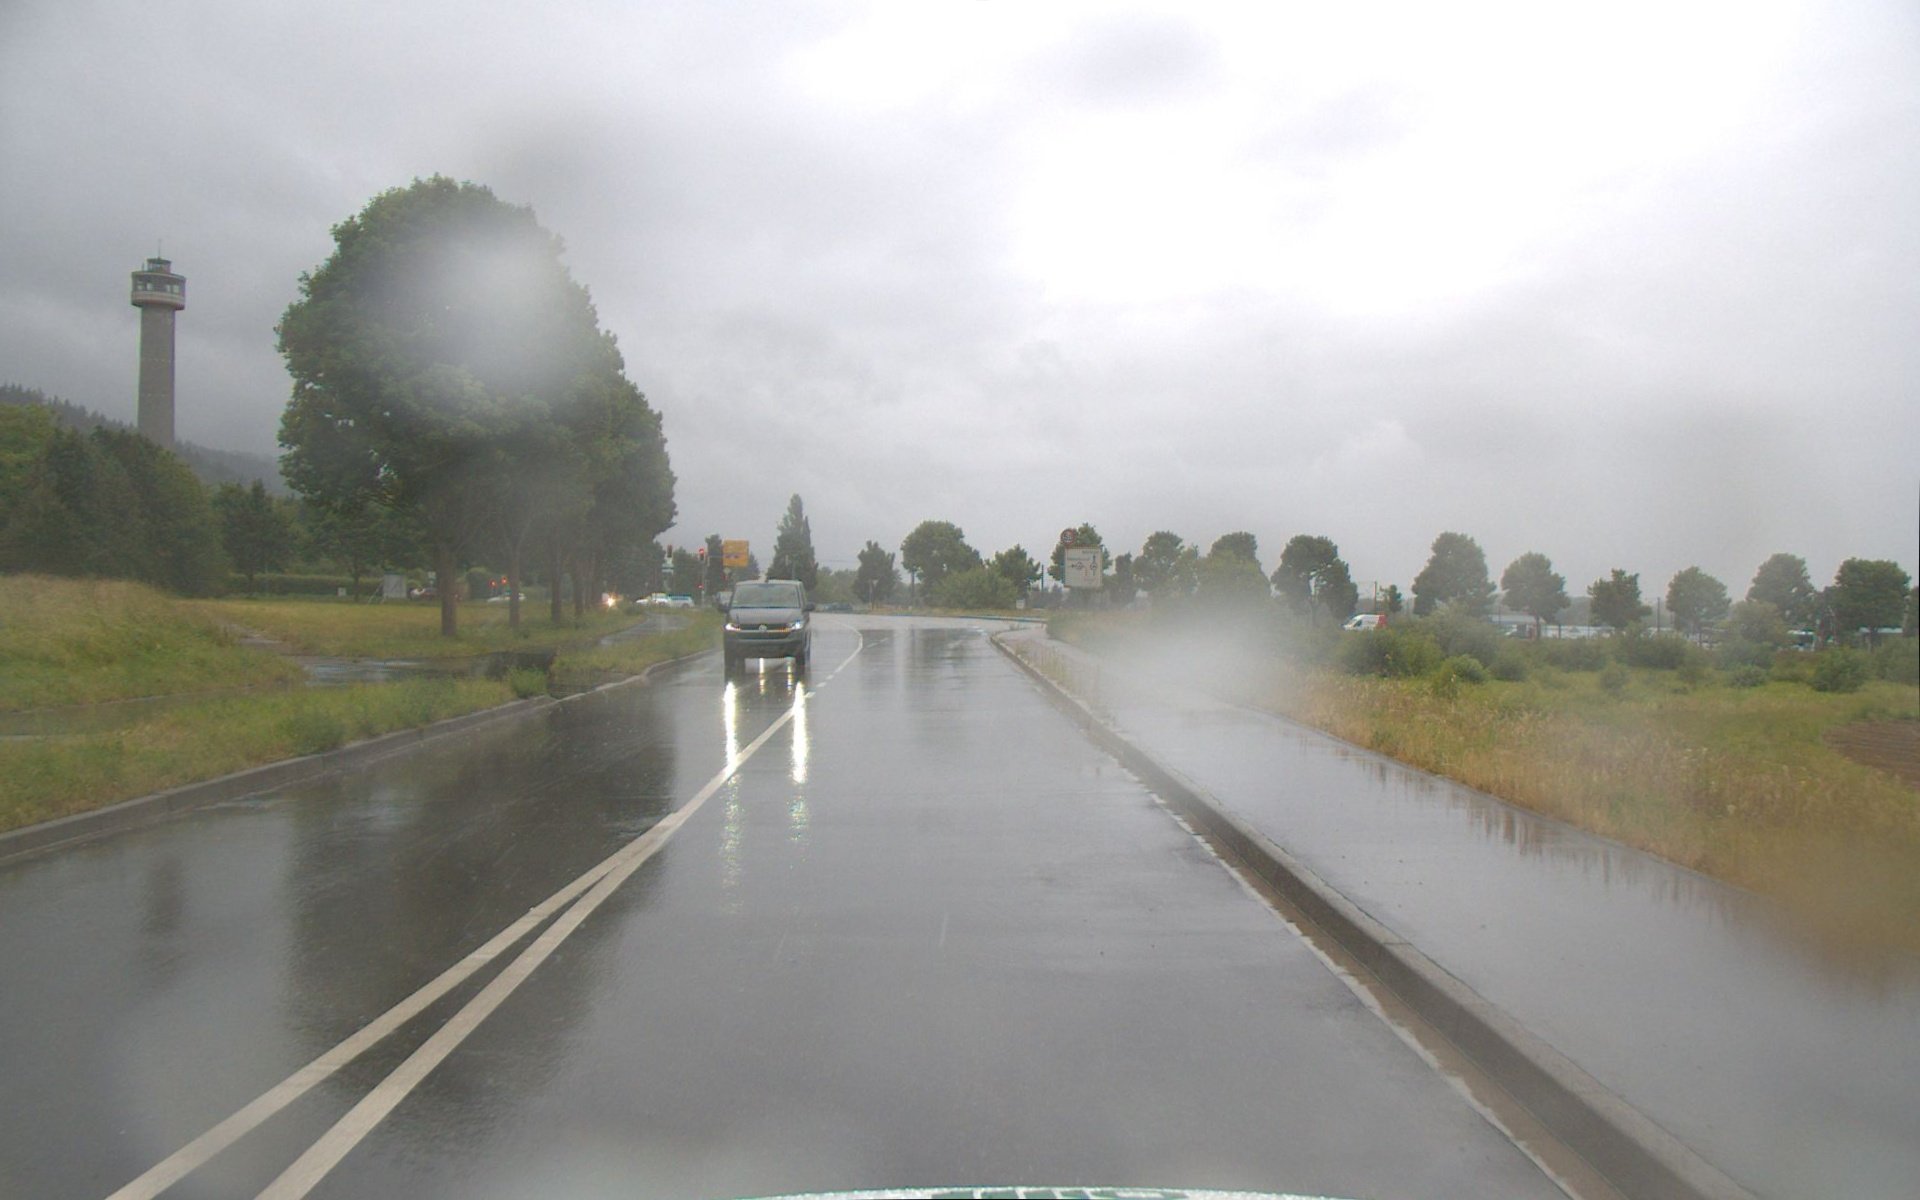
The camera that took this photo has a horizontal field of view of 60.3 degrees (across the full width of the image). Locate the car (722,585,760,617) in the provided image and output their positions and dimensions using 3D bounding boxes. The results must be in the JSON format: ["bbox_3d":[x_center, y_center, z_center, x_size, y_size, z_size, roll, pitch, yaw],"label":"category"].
[{"bbox_3d":[-15.049,0.066,113.410,1.961,2.049,3.983,2,0,-16],"label":"car"}]

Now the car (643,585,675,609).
[{"bbox_3d":[-27.893,-0.317,153.312,1.968,2.048,3.970,3,0,-25],"label":"car"}]

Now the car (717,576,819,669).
[{"bbox_3d":[-4.445,0.476,38.946,1.953,2.007,4.955,-1,0,-2],"label":"car"}]
